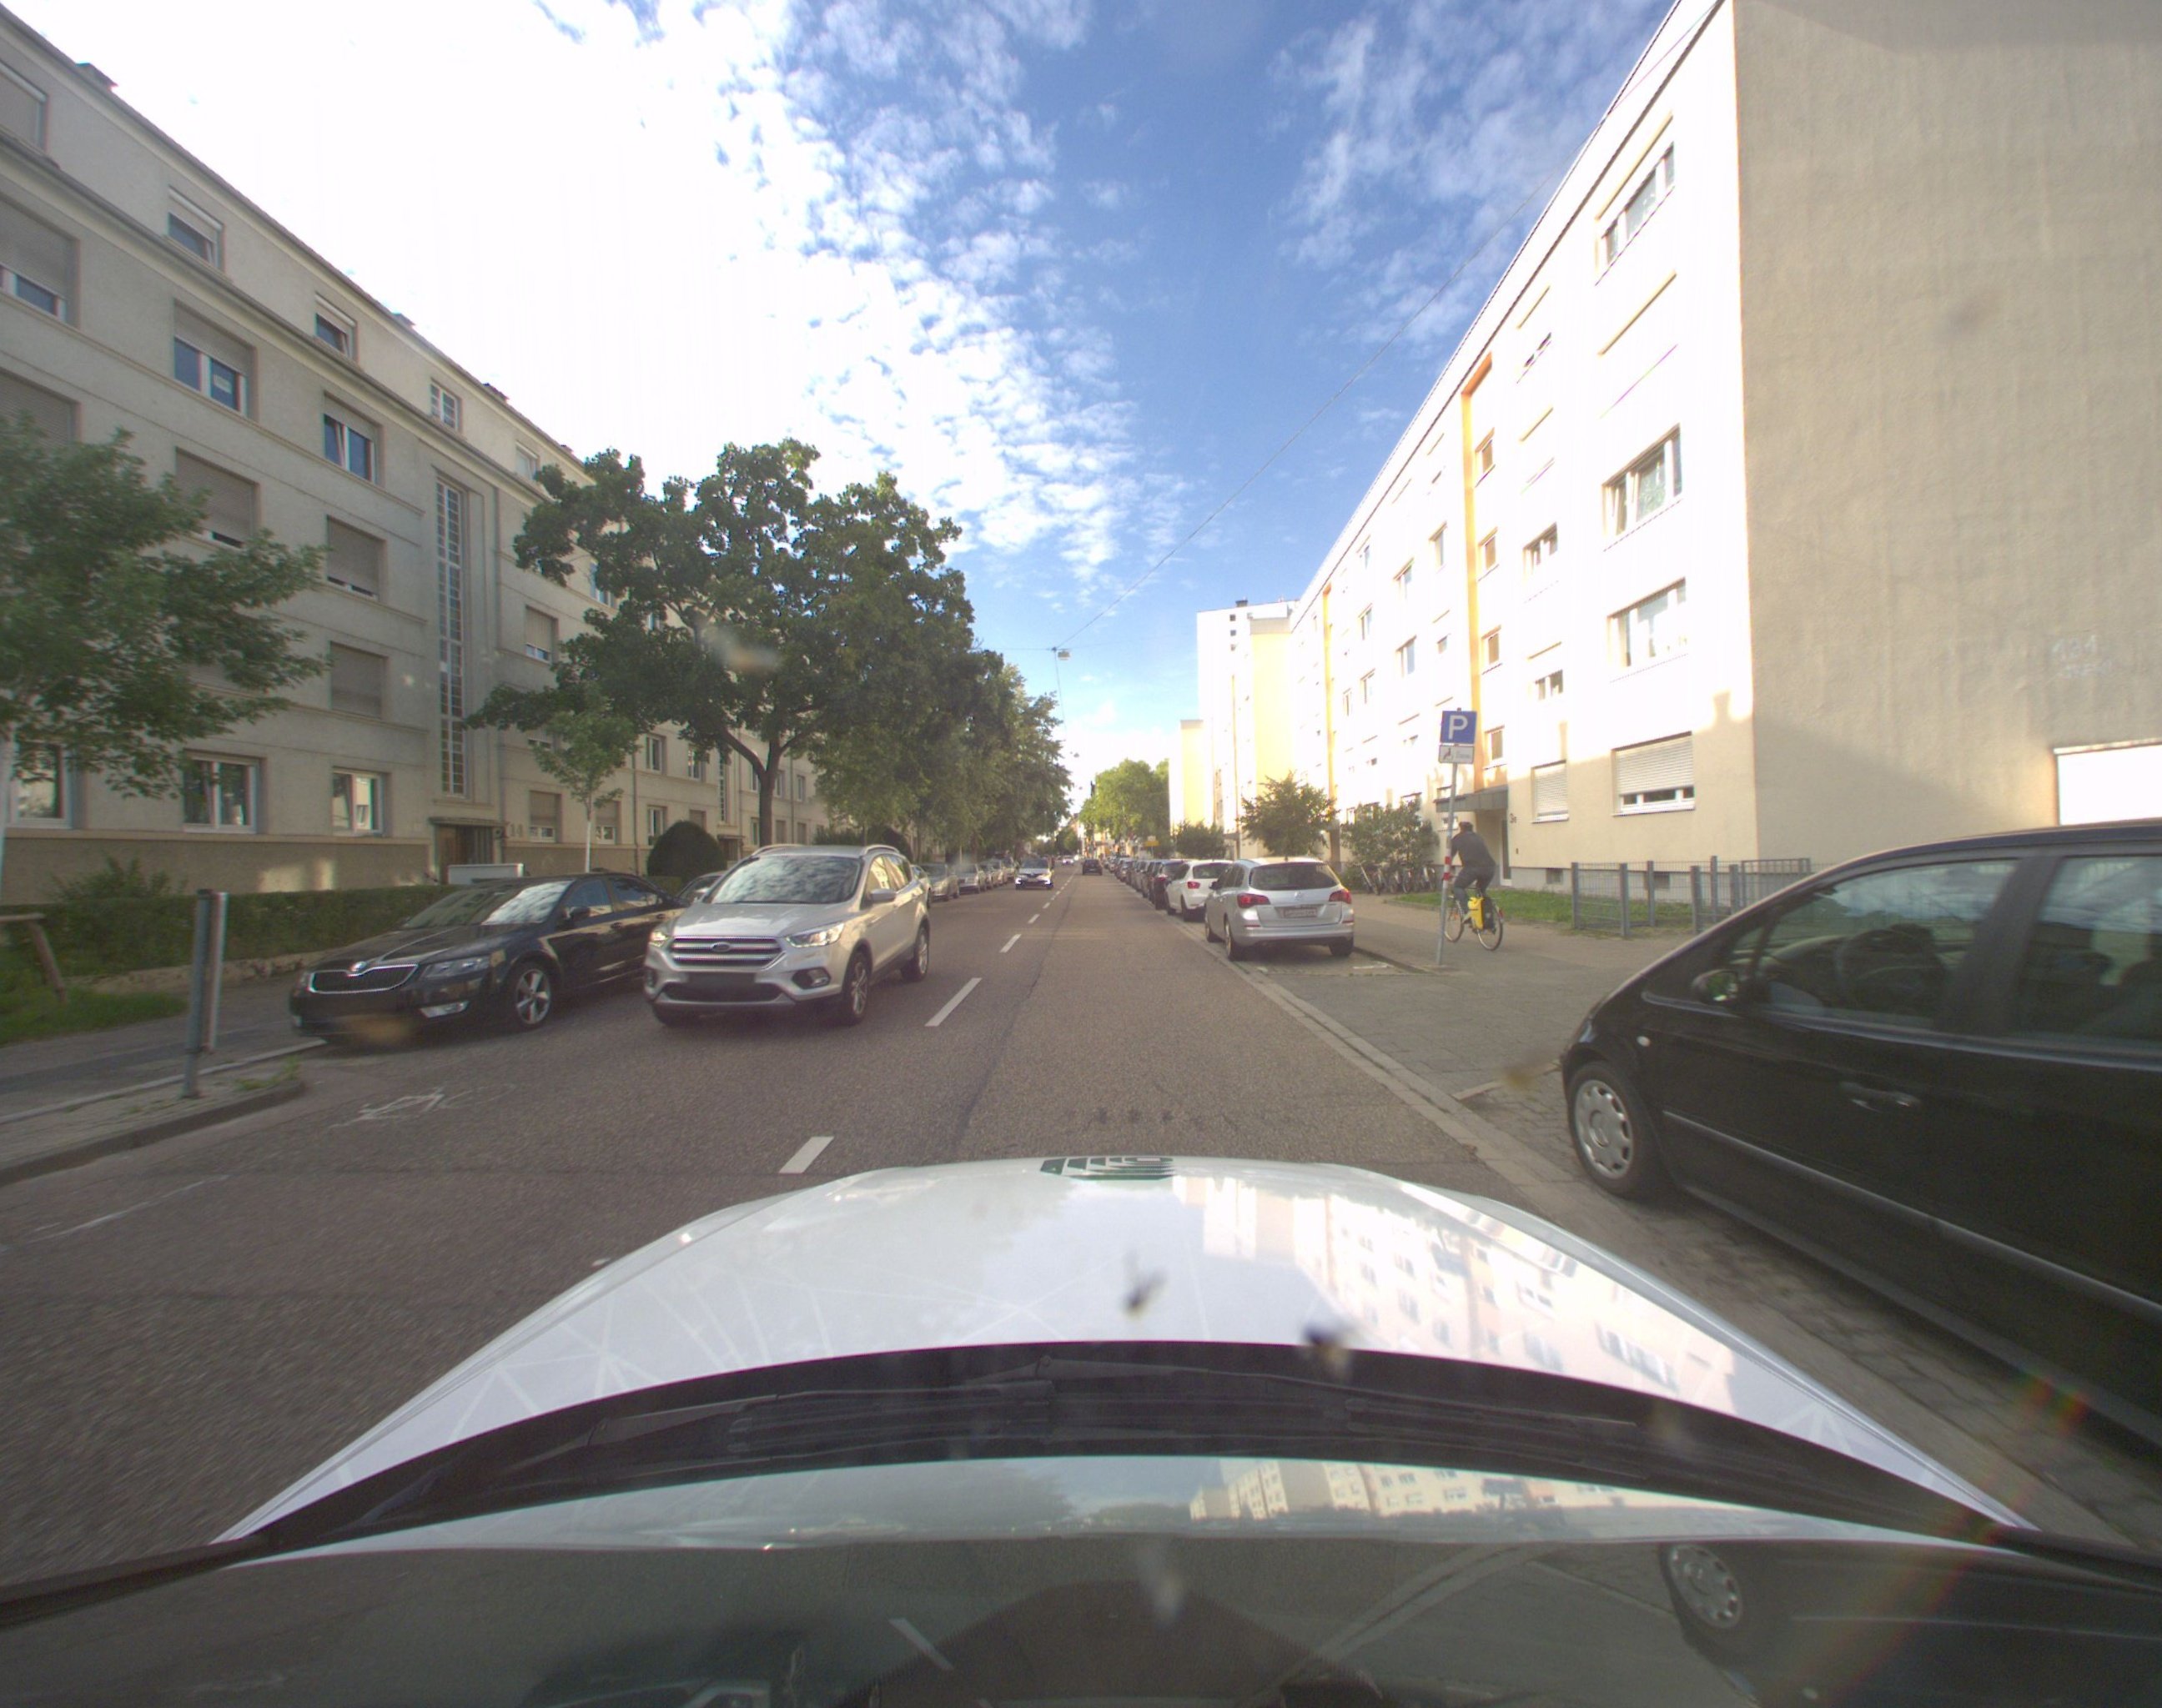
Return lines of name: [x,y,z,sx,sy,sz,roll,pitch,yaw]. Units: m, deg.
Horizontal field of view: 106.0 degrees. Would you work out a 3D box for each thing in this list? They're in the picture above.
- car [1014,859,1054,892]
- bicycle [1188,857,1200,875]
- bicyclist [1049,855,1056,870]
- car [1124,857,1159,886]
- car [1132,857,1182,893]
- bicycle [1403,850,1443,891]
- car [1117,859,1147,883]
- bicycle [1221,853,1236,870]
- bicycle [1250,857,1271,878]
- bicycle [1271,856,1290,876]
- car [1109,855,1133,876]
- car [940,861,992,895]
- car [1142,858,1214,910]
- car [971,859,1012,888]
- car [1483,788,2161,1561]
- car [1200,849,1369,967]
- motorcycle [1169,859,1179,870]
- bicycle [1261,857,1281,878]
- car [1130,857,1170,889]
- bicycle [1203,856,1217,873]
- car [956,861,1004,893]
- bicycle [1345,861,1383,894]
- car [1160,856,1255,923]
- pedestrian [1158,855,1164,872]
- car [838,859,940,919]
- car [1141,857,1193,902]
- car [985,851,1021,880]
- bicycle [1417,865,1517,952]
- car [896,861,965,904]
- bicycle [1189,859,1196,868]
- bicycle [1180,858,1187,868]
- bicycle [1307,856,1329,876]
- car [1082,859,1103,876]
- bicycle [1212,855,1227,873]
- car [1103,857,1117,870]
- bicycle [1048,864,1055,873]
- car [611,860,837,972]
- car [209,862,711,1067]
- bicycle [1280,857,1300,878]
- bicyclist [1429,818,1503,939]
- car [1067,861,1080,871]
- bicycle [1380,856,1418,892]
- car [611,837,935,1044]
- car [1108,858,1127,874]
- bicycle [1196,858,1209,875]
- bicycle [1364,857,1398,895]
car: [-2.327,1.030,40.945,1.735,1.501,4.009,-2,0,0]
bicycle: [8.693,0.927,62.650,0.602,1.291,2.635,-2,0,1]
bicyclist: [-3.074,0.967,88.661,0.639,1.601,0.990,-2,-1,1]
car: [3.436,0.974,46.758,1.656,1.491,3.941,-3,0,0]
car: [3.327,0.893,36.256,1.695,1.463,4.177,-2,0,-2]
bicycle: [10.672,0.528,25.448,0.520,1.216,1.590,-3,-2,0]
car: [3.315,1.068,53.065,1.656,1.416,4.058,-3,0,0]
bicycle: [11.365,0.560,62.718,0.724,1.291,2.635,0,0,1]
bicycle: [9.599,0.708,43.678,0.591,1.030,2.119,-4,0,0]
bicycle: [10.712,0.656,43.783,0.500,1.030,2.069,-4,0,0]
car: [3.355,0.993,69.011,1.723,1.649,4.115,-2,0,0]
car: [-5.427,1.091,38.861,1.733,1.393,4.665,-4,0,0]
car: [2.993,0.891,25.835,1.679,1.435,4.204,-2,0,-1]
car: [-5.388,1.120,49.462,1.848,1.573,4.461,-3,0,1]
car: [3.064,0.637,2.535,1.667,1.602,3.971,-2,0,1]
car: [3.039,0.730,13.104,1.756,1.524,4.332,-2,0,2]
motorcycle: [9.200,1.026,80.725,0.628,1.045,2.393,-2,0,0]
bicycle: [10.194,0.711,43.785,0.500,1.030,2.095,-4,0,0]
car: [3.477,0.923,41.660,1.678,1.485,4.293,-2,0,0]
bicycle: [9.927,0.805,62.646,0.593,1.291,2.635,-4,0,1]
car: [-5.425,1.201,44.287,1.849,1.486,4.944,-4,0,0]
bicycle: [8.849,0.741,25.506,0.594,0.998,1.692,-1,-2,0]
car: [3.116,0.819,20.861,1.678,1.468,4.204,-2,0,-1]
pedestrian: [8.273,0.988,83.740,0.539,1.721,0.772,-2,-1,6]
car: [-5.718,0.985,24.884,1.849,1.486,4.798,-5,0,0]
car: [3.180,0.912,30.713,1.677,1.501,3.876,-2,0,2]
car: [-5.260,0.756,55.320,1.871,1.793,4.969,-3,0,-1]
bicycle: [5.584,0.751,11.911,0.522,1.135,1.929,-1,0,0]
car: [-5.828,1.059,32.039,1.850,1.486,4.681,-2,0,-1]
bicycle: [11.072,0.940,80.813,0.457,0.927,1.516,-2,0,0]
bicycle: [10.118,0.923,80.775,0.457,0.941,1.516,-2,0,0]
bicycle: [12.676,0.640,43.644,0.499,1.030,2.135,-5,0,1]
car: [1.015,1.199,71.605,1.746,1.413,3.999,-1,0,-1]
bicycle: [10.649,0.753,62.651,0.724,1.291,2.635,-2,0,1]
car: [3.596,1.157,99.831,1.683,1.528,4.241,0,0,3]
bicycle: [-3.178,1.580,88.645,0.640,0.923,1.858,-2,0,1]
car: [-5.816,0.918,13.966,1.814,1.486,4.369,-3,0,1]
car: [-5.970,0.904,8.731,1.921,1.486,4.419,-3,0,0]
bicycle: [11.228,0.713,43.765,0.500,1.030,2.026,-4,0,0]
bicyclist: [5.574,0.341,11.835,0.621,1.678,0.893,-1,0,0]
car: [-1.190,1.865,128.842,1.852,1.528,4.012,-1,0,1]
bicycle: [9.958,0.644,25.537,0.520,1.074,1.590,-3,-2,0]
car: [-2.885,0.720,8.707,1.823,1.669,4.084,1,0,1]
car: [3.548,1.129,79.394,1.722,1.487,4.643,-2,0,2]
bicycle: [9.327,0.938,62.664,0.602,1.291,2.635,-3,0,1]
bicycle: [9.408,0.686,25.599,0.443,1.137,1.590,-3,-2,0]
